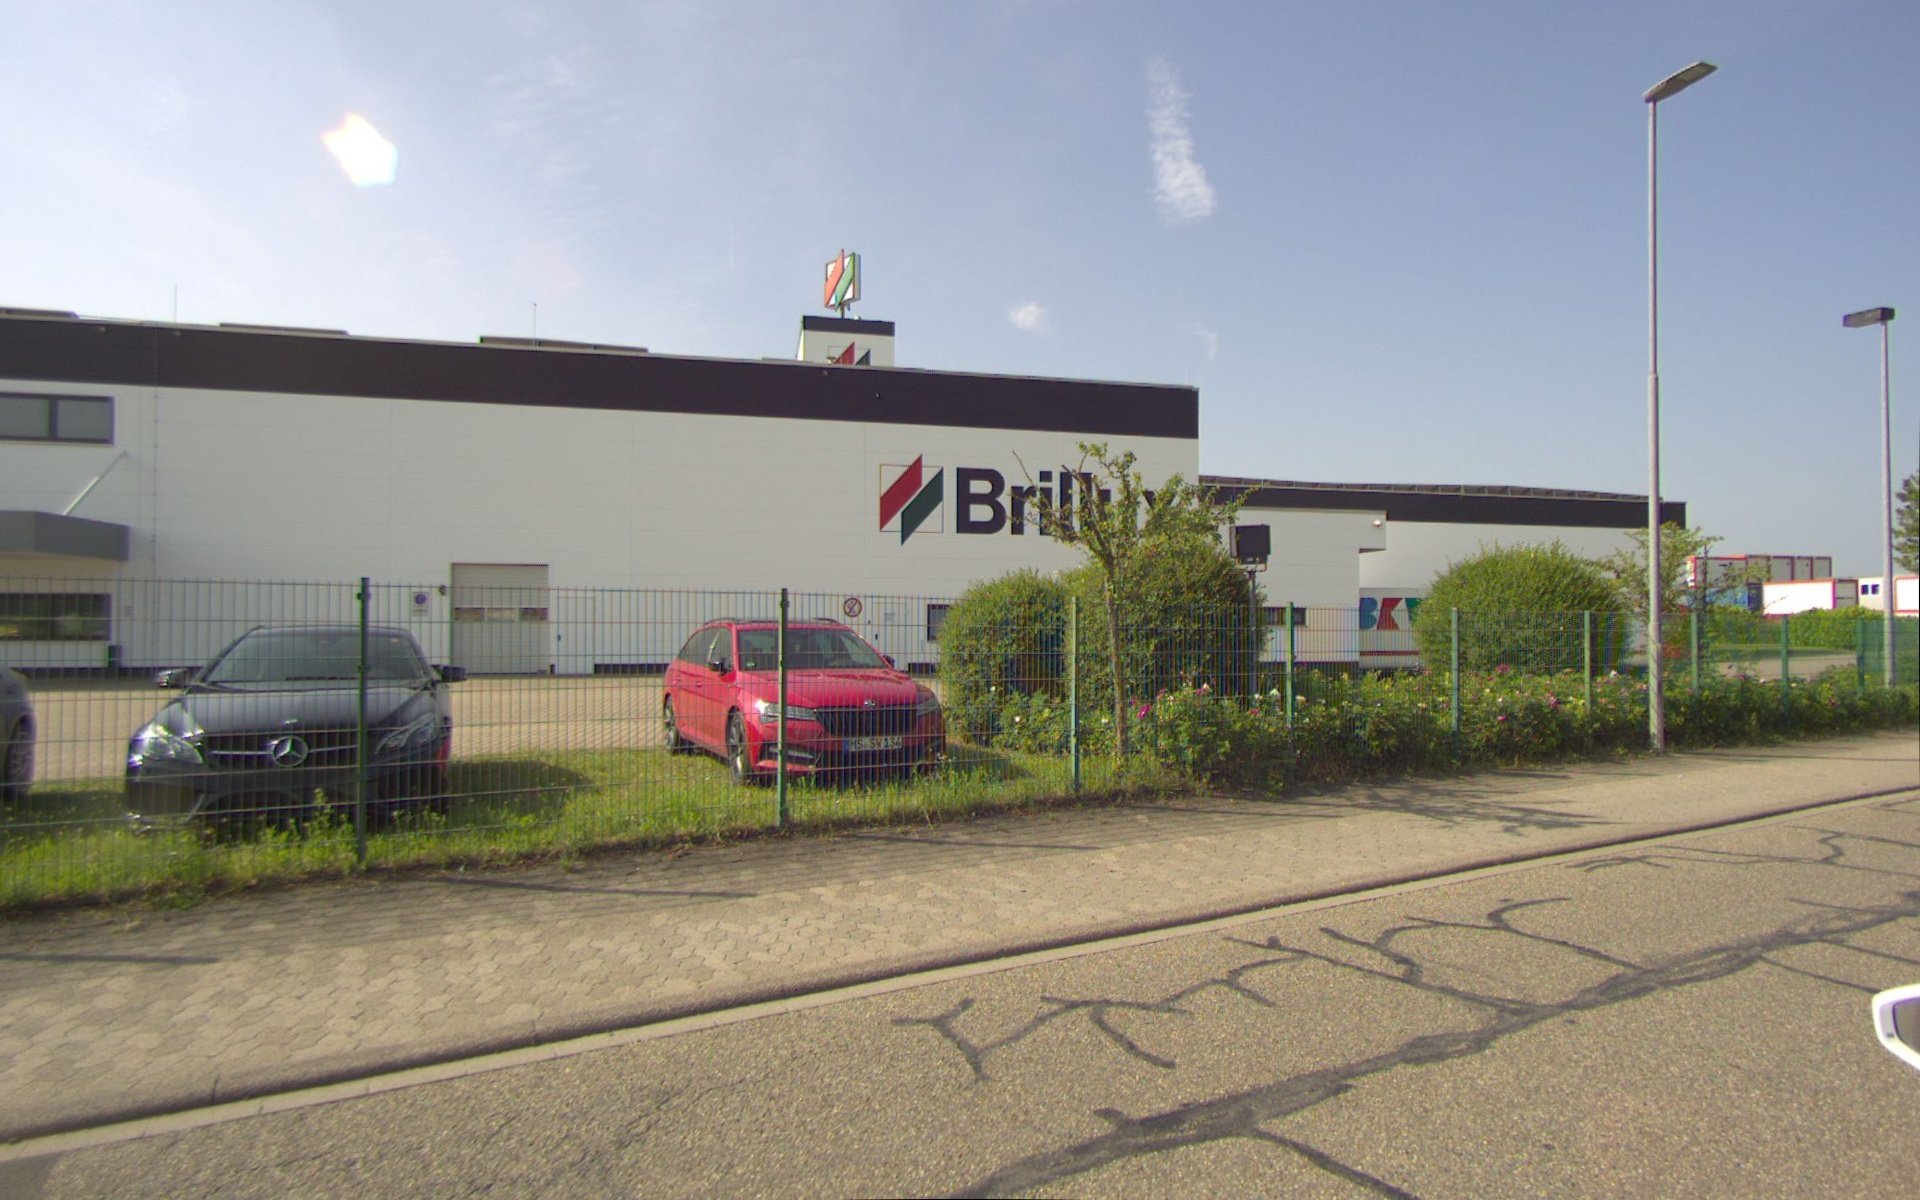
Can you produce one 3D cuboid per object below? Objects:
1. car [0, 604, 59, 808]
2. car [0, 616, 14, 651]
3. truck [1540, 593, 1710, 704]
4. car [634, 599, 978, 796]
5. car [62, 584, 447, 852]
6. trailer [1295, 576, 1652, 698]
[{"bbox_3d":[-7.351,0.708,6.134,1.851,1.463,4.024,1,-4,-29],"label":"car"},{"bbox_3d":[-50.343,1.633,49.493,5.001,1.724,1.985,1,-3,-30],"label":"car"},{"bbox_3d":[26.201,1.895,39.630,5.450,4.125,2.514,2,0,-14],"label":"truck"},{"bbox_3d":[-1.780,0.864,9.933,1.929,1.463,4.517,1,-4,-29],"label":"car"},{"bbox_3d":[-5.075,0.768,7.734,1.851,1.463,4.024,1,-4,-29],"label":"car"},{"bbox_3d":[19.504,1.462,38.014,13.651,4.095,2.483,2,0,-14],"label":"trailer"}]
